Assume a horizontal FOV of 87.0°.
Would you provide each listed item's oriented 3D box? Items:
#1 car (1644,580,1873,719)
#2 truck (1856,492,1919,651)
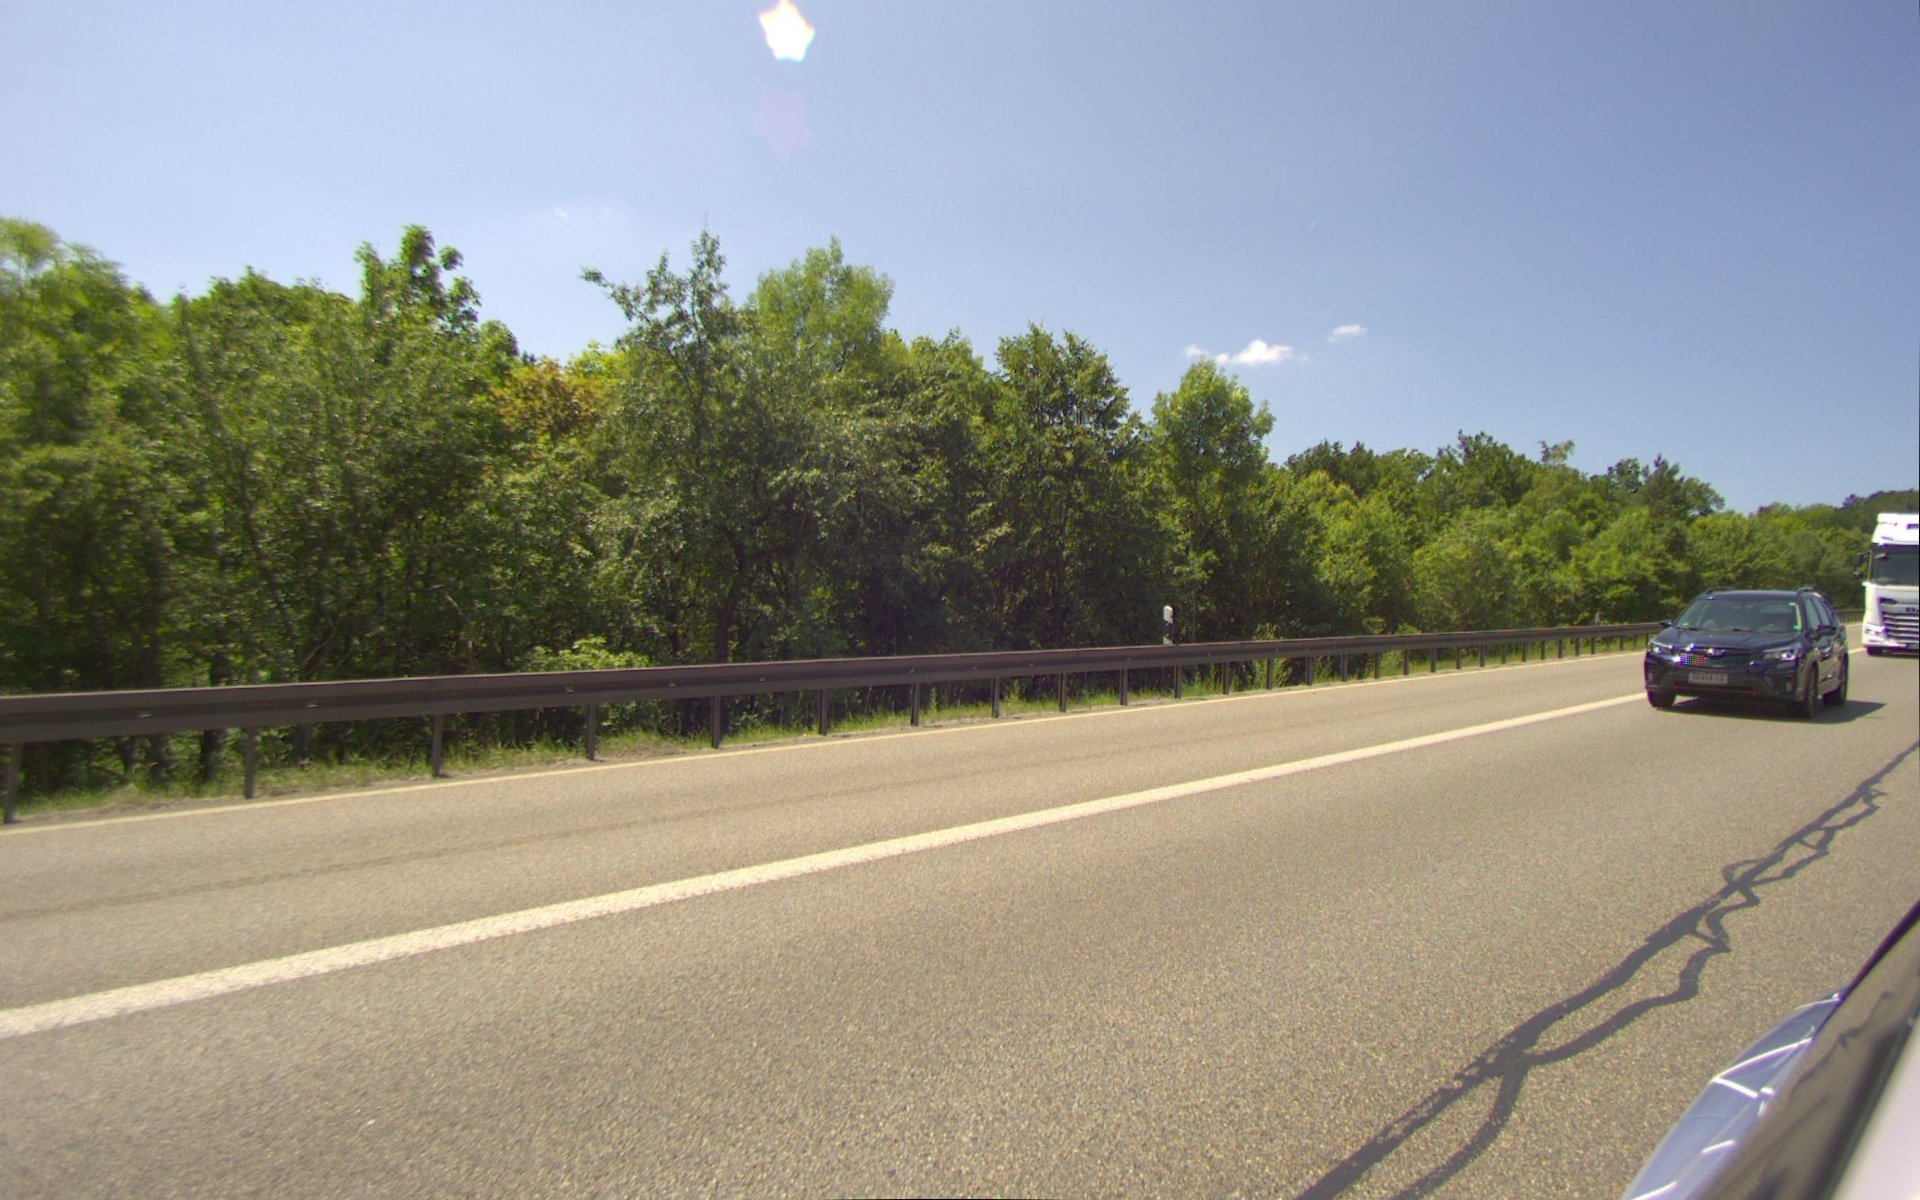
[{"bbox_3d":[11.533,0.596,14.527,4.130,1.688,1.815,0,2,-41],"label":"car"},{"bbox_3d":[31.797,-0.761,32.157,15.983,4.220,2.789,0,2,-41],"label":"truck"}]
